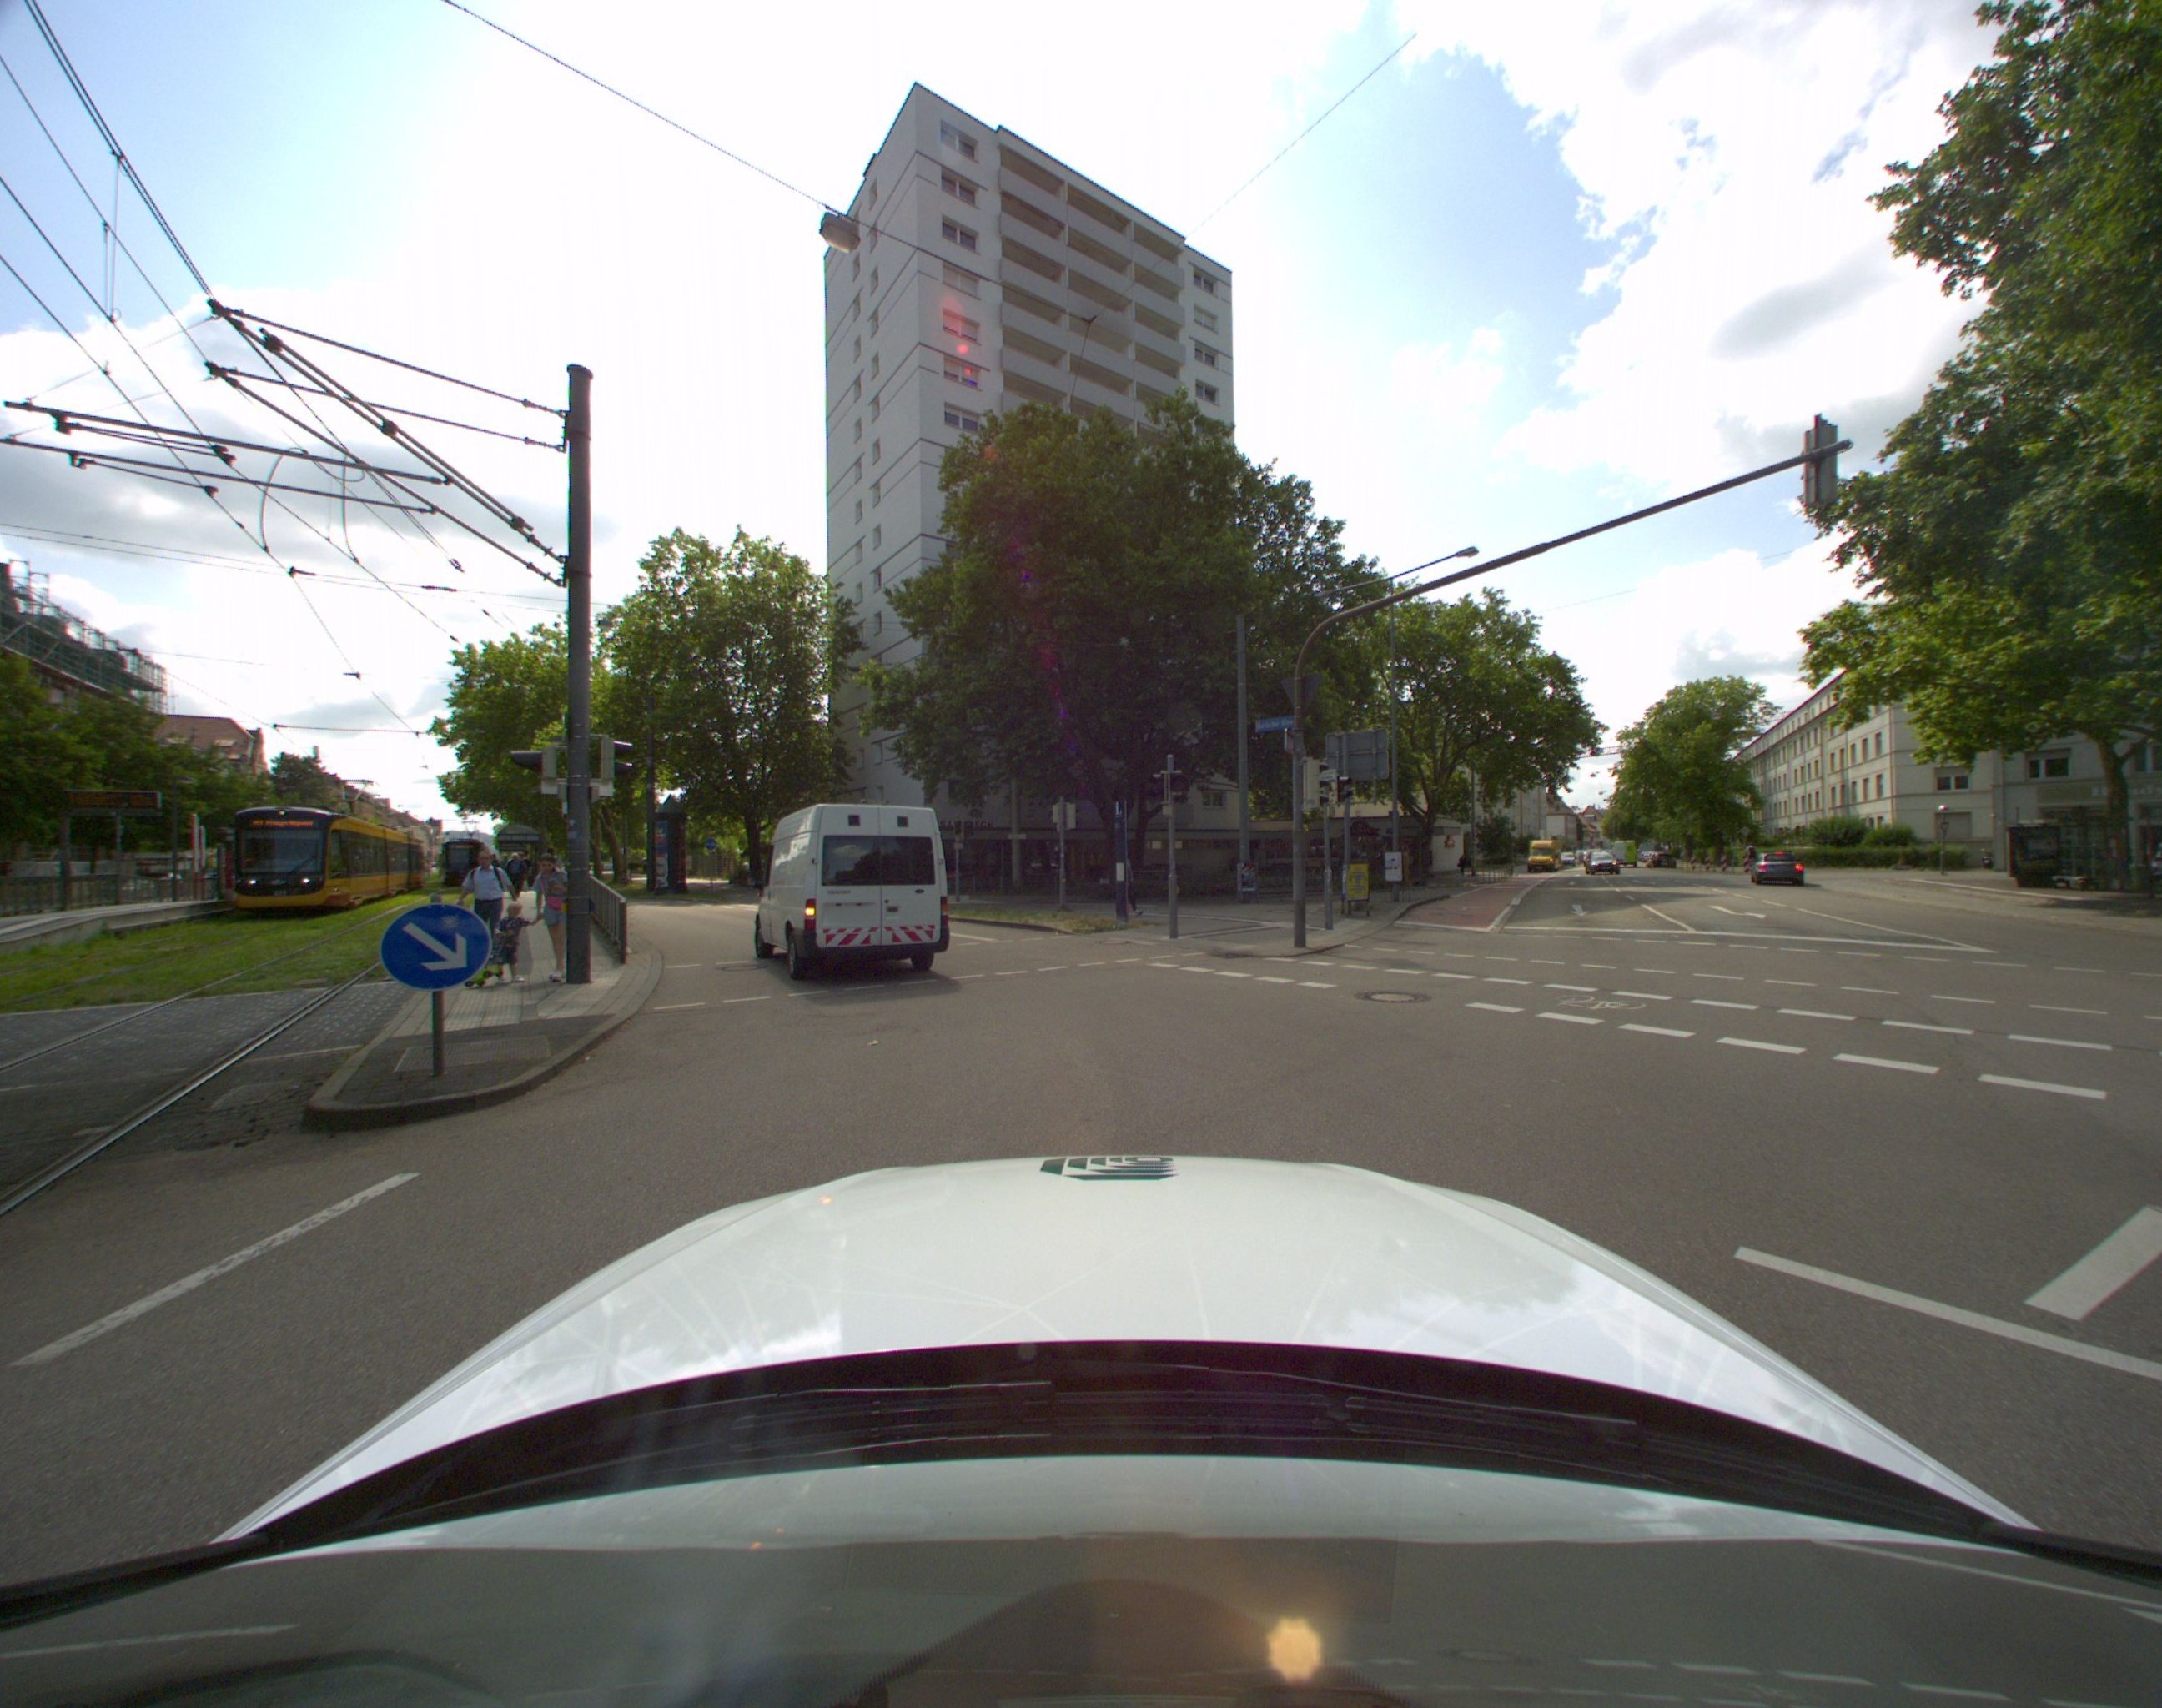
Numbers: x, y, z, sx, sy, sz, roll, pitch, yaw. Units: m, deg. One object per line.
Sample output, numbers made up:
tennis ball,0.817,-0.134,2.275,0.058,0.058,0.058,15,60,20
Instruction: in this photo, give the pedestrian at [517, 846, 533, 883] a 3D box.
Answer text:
pedestrian,-28.877,0.539,42.276,0.530,1.900,0.475,-1,0,30

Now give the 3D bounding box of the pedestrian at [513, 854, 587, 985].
pedestrian,-7.099,0.845,10.910,0.625,1.666,0.672,-1,0,-17

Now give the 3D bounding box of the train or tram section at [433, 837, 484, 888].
train or tram section,-48.543,0.666,63.749,2.744,3.584,12.873,-1,0,-36

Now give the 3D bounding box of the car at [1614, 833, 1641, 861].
car,54.570,-0.772,81.401,2.099,2.641,6.369,-1,0,33

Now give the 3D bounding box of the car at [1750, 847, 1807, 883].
car,32.156,0.482,37.641,1.675,1.538,3.491,-1,1,36

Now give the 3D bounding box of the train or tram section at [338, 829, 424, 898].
train or tram section,-41.323,0.535,48.448,2.744,3.584,12.873,-1,0,-36

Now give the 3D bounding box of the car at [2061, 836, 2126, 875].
car,49.718,0.048,39.990,4.744,1.796,1.890,-1,0,-38

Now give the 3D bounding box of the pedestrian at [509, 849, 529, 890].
pedestrian,-26.053,0.727,37.778,0.706,1.849,0.780,-1,0,-37

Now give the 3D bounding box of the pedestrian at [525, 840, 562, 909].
pedestrian,-15.428,0.576,23.371,0.833,1.899,0.837,-1,0,-36

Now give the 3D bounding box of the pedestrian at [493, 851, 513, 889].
pedestrian,-29.318,0.785,41.301,0.817,1.872,1.019,-1,0,-36

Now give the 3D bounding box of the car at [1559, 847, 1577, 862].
car,59.579,0.069,99.630,1.712,1.661,3.773,-1,0,34

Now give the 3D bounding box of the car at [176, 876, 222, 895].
car,-70.149,2.456,64.815,1.732,1.371,3.664,-2,0,-36

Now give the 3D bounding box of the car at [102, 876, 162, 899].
car,-61.351,2.145,52.716,1.732,1.371,3.439,-2,0,-36

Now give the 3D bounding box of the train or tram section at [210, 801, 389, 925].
train or tram section,-27.748,0.319,29.597,2.829,3.584,12.873,-1,0,-36

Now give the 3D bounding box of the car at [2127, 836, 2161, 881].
car,42.937,0.138,32.198,4.560,1.690,1.890,-1,0,-38

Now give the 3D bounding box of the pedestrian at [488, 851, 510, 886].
pedestrian,-30.539,0.735,42.708,0.893,1.801,1.478,-1,0,-36

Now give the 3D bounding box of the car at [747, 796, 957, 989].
car,-3.695,0.452,12.421,2.059,2.333,4.670,-2,0,-29

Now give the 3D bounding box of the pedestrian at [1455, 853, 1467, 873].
pedestrian,28.279,0.669,60.557,0.662,1.479,0.579,-1,0,39

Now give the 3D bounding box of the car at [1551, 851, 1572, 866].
car,51.719,0.479,87.652,1.828,1.562,4.025,-1,0,32

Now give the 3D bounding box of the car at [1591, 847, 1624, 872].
car,37.477,0.385,58.081,1.769,1.661,4.343,-1,0,31

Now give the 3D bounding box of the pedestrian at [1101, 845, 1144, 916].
pedestrian,1.076,0.671,21.045,0.697,1.783,0.878,-1,0,-33

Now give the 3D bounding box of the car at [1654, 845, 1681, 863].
car,53.146,0.011,73.809,1.708,1.554,3.656,-1,0,31

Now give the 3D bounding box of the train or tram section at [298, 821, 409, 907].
train or tram section,-34.525,0.446,39.026,2.817,3.584,10.290,-1,0,-36

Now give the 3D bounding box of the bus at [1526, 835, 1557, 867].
bus,41.895,-0.279,74.178,2.371,2.709,6.409,-1,0,29

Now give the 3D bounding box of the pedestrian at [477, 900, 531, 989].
pedestrian,-7.379,1.146,10.426,0.420,1.063,0.434,-1,0,-16

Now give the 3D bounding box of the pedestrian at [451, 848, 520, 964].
pedestrian,-9.708,0.811,13.300,0.854,1.780,1.033,-1,0,-35

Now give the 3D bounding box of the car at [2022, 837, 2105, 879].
car,40.777,0.135,33.785,4.560,1.600,2.011,-1,0,-38

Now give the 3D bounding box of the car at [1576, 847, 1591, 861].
car,74.466,-0.054,120.683,1.636,1.932,3.773,-1,0,34

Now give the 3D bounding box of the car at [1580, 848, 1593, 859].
car,79.365,-0.108,127.806,1.643,1.661,3.773,-1,0,34

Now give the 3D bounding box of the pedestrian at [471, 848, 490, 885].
pedestrian,-29.792,0.630,40.429,0.717,1.801,1.120,-1,0,-36

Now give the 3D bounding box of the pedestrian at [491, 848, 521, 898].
pedestrian,-21.065,0.696,29.859,0.864,1.775,0.867,-1,0,-36

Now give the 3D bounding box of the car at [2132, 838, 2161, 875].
car,51.053,0.094,38.548,3.083,1.666,1.453,-1,0,-40

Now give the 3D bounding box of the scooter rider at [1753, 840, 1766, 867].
scooter rider,44.819,-0.032,53.808,0.521,1.812,0.653,-1,0,30

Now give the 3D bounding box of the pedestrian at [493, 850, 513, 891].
pedestrian,-26.600,0.740,37.446,0.706,1.849,0.898,-1,0,-37
